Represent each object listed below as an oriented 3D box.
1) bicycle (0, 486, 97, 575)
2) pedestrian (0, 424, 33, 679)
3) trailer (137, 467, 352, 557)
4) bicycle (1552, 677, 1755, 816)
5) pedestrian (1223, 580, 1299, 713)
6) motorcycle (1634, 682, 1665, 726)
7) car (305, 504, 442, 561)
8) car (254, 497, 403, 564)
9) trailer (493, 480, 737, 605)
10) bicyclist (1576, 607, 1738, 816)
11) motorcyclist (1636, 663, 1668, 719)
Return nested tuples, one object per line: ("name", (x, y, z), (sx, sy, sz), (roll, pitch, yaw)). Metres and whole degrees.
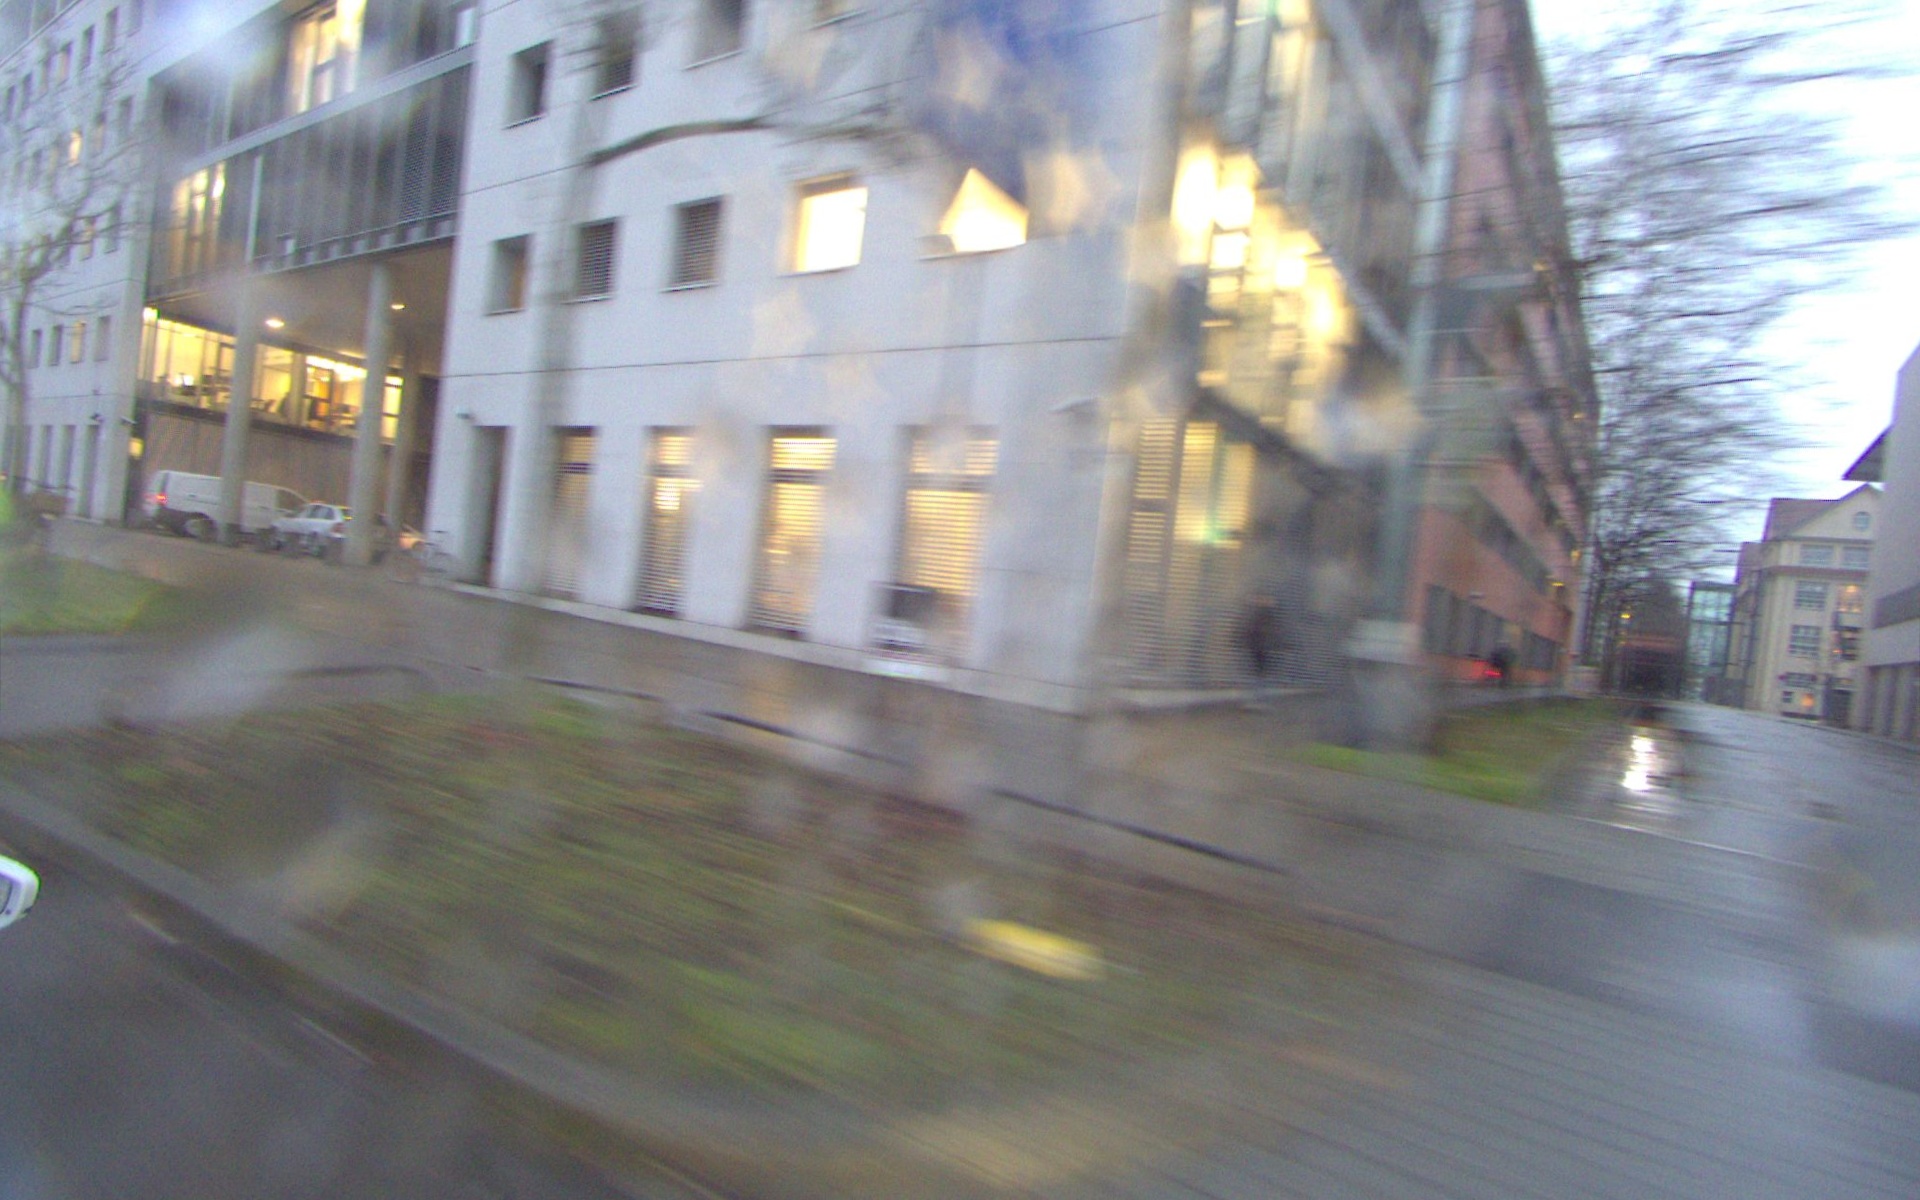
("bicycle", (-13.013, -1.000, 14.314), (2.132, 1.130, 0.550), (5, 1, 35))
("pedestrian", (-7.298, -0.365, 7.235), (0.688, 1.834, 0.770), (6, 4, 31))
("trailer", (-22.492, -2.718, 31.812), (2.099, 1.935, 5.063), (9, 1, 40))
("bicycle", (6.786, 1.444, 9.828), (1.850, 1.105, 0.847), (8, 2, -32))
("pedestrian", (4.234, 0.663, 14.126), (0.691, 1.756, 0.738), (6, -1, 32))
("motorcycle", (19.278, 2.920, 28.124), (0.614, 1.111, 1.441), (6, -2, 35))
("car", (-21.568, -2.459, 37.093), (1.634, 1.537, 3.979), (8, 1, 41))
("car", (-17.469, -1.933, 27.776), (4.456, 1.387, 1.634), (6, -2, 33))
("trailer", (-9.264, -1.446, 27.776), (2.173, 2.613, 6.265), (7, 0, 31))
("bicyclist", (6.729, 1.069, 9.738), (0.725, 1.846, 0.832), (7, 2, -33))
("motorcyclist", (19.274, 2.539, 28.042), (0.600, 1.471, 0.899), (6, -1, 35))
